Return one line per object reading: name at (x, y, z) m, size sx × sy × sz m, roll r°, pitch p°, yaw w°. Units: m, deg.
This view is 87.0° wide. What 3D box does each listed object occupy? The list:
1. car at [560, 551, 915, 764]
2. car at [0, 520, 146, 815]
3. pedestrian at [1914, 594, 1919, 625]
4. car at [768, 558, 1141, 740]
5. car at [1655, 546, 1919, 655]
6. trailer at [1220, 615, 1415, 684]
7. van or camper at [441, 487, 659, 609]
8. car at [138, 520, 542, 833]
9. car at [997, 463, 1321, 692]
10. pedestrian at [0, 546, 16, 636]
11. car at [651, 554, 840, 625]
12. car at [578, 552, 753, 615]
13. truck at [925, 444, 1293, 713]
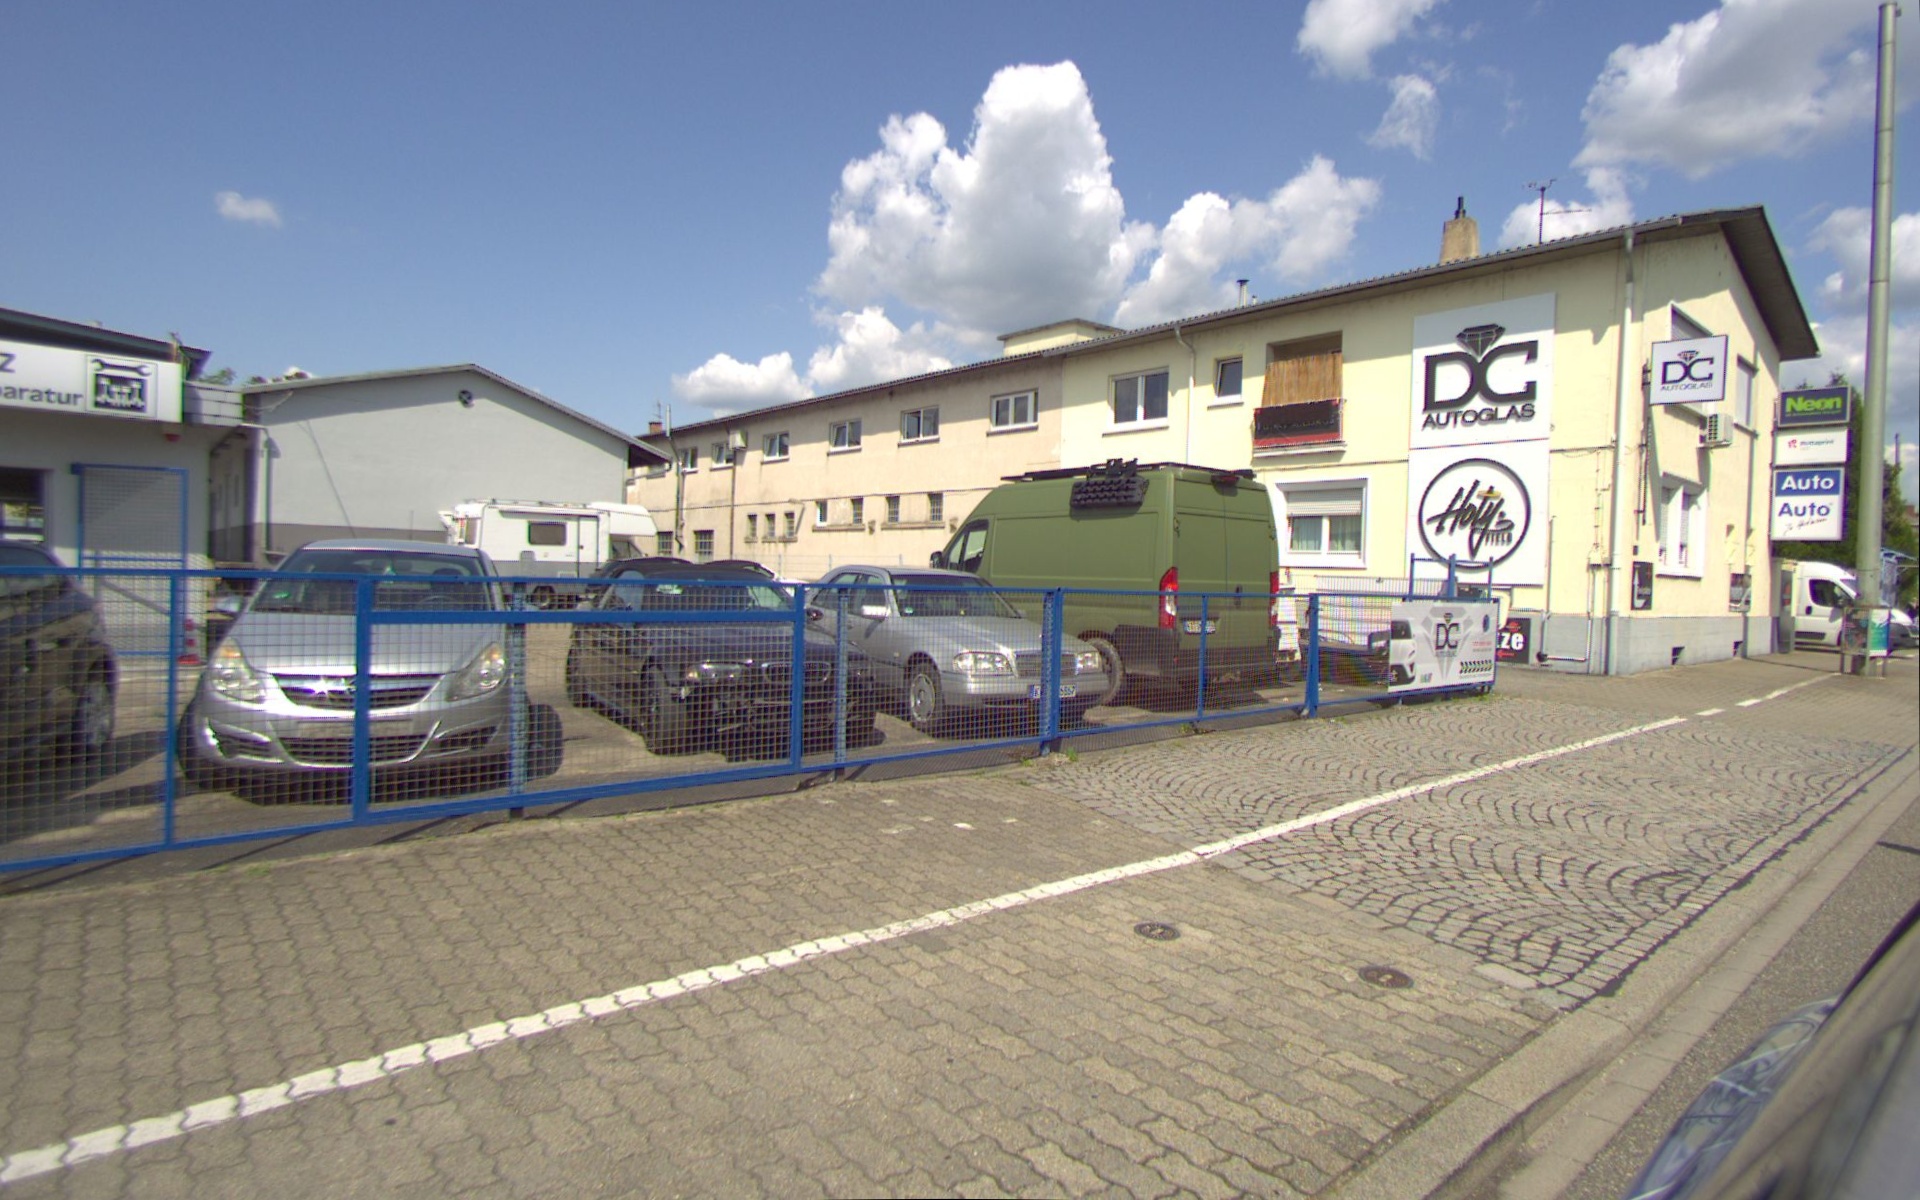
car at (-2.122, 0.309, 8.748) m, size 1.768 × 1.403 × 3.837 m, roll 1°, pitch 2°, yaw -32°
car at (-5.744, 0.323, 5.036) m, size 1.685 × 1.497 × 4.012 m, roll 1°, pitch 2°, yaw -25°
pedestrian at (51.930, 0.521, 54.405) m, size 0.902 × 1.606 × 0.816 m, roll 1°, pitch 1°, yaw -41°
car at (-0.293, 0.319, 10.207) m, size 1.768 × 1.413 × 4.216 m, roll 1°, pitch 2°, yaw -33°
car at (22.717, -0.086, 27.410) m, size 1.963 × 2.404 × 5.989 m, roll 1°, pitch 5°, yaw -38°
trailer at (5.085, 0.669, 14.530) m, size 1.245 × 0.776 × 2.330 m, roll 0°, pitch 2°, yaw -39°
van or camper at (-11.005, -1.324, 27.370) m, size 4.971 × 2.999 × 2.284 m, roll 0°, pitch 2°, yaw -42°
car at (-3.948, 0.301, 7.104) m, size 1.766 × 1.497 × 4.158 m, roll 1°, pitch 2°, yaw -24°
car at (2.615, -0.346, 14.144) m, size 1.771 × 2.702 × 4.208 m, roll 1°, pitch 2°, yaw -40°
pedestrian at (-13.256, -0.129, 13.843) m, size 0.479 × 1.228 × 0.501 m, roll 1°, pitch 1°, yaw -42°
car at (-4.923, -0.247, 23.521) m, size 3.939 × 1.497 × 1.719 m, roll 0°, pitch 2°, yaw -41°
car at (-7.476, -0.411, 25.891) m, size 3.939 × 1.497 × 1.719 m, roll 0°, pitch 2°, yaw -41°
truck at (1.626, -0.286, 12.147) m, size 2.033 × 2.639 × 3.996 m, roll 1°, pitch 2°, yaw -40°
